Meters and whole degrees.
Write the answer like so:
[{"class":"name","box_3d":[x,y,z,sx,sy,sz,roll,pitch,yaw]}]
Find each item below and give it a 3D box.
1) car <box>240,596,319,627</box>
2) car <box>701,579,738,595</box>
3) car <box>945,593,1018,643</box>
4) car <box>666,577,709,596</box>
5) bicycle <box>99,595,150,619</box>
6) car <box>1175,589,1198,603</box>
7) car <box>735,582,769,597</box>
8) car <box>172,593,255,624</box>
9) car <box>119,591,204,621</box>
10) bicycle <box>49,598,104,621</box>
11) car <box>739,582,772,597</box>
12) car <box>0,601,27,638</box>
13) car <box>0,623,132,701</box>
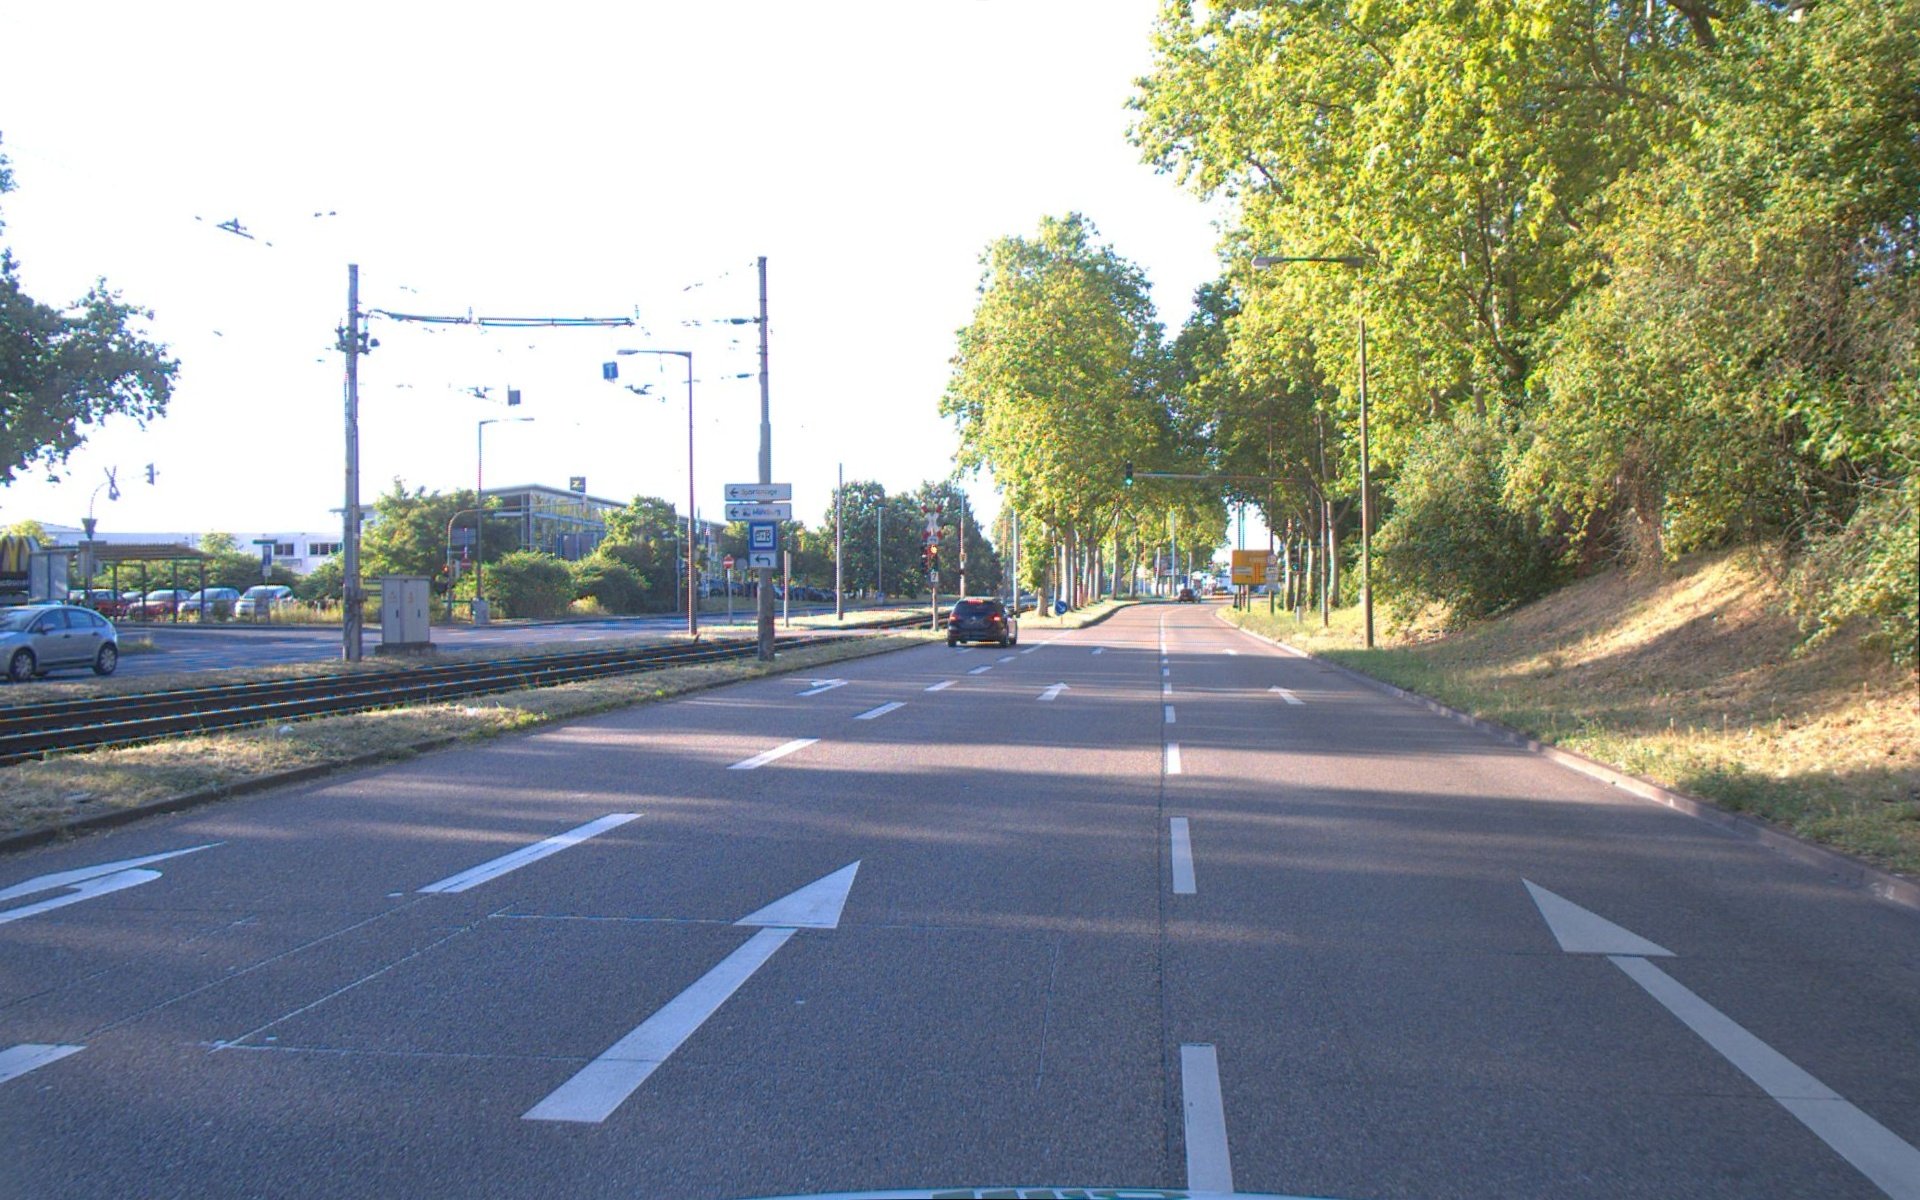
[{"class":"car","box_3d":[-33.972,0.554,82.681,1.802,1.467,4.003,1,0,10]},{"class":"car","box_3d":[-21.440,-1.155,147.536,3.076,1.416,1.456,1,0,3]},{"class":"car","box_3d":[0.684,0.521,49.705,1.754,1.427,3.692,0,0,8]},{"class":"car","box_3d":[-21.237,-1.039,129.027,3.076,1.416,1.456,1,0,3]},{"class":"bicycle","box_3d":[-38.614,0.344,76.444,0.652,1.084,2.191,1,0,24]},{"class":"car","box_3d":[23.595,-0.385,172.076,1.755,1.427,3.690,0,-1,17]},{"class":"car","box_3d":[-20.418,-1.027,162.273,3.076,1.516,1.456,1,0,3]},{"class":"car","box_3d":[-37.224,0.424,82.595,1.802,1.467,4.003,1,0,10]},{"class":"car","box_3d":[-40.162,0.297,83.280,1.802,1.467,4.003,1,0,10]},{"class":"bicycle","box_3d":[-41.299,0.446,77.337,0.655,1.084,2.183,0,0,37]},{"class":"car","box_3d":[-20.447,-1.054,165.261,3.076,1.516,1.456,1,0,3]},{"class":"car","box_3d":[-37.861,0.714,62.936,3.968,1.411,1.785,1,0,13]},{"class":"car","box_3d":[-18.927,1.212,33.651,1.618,1.440,4.262,0,0,7]}]
